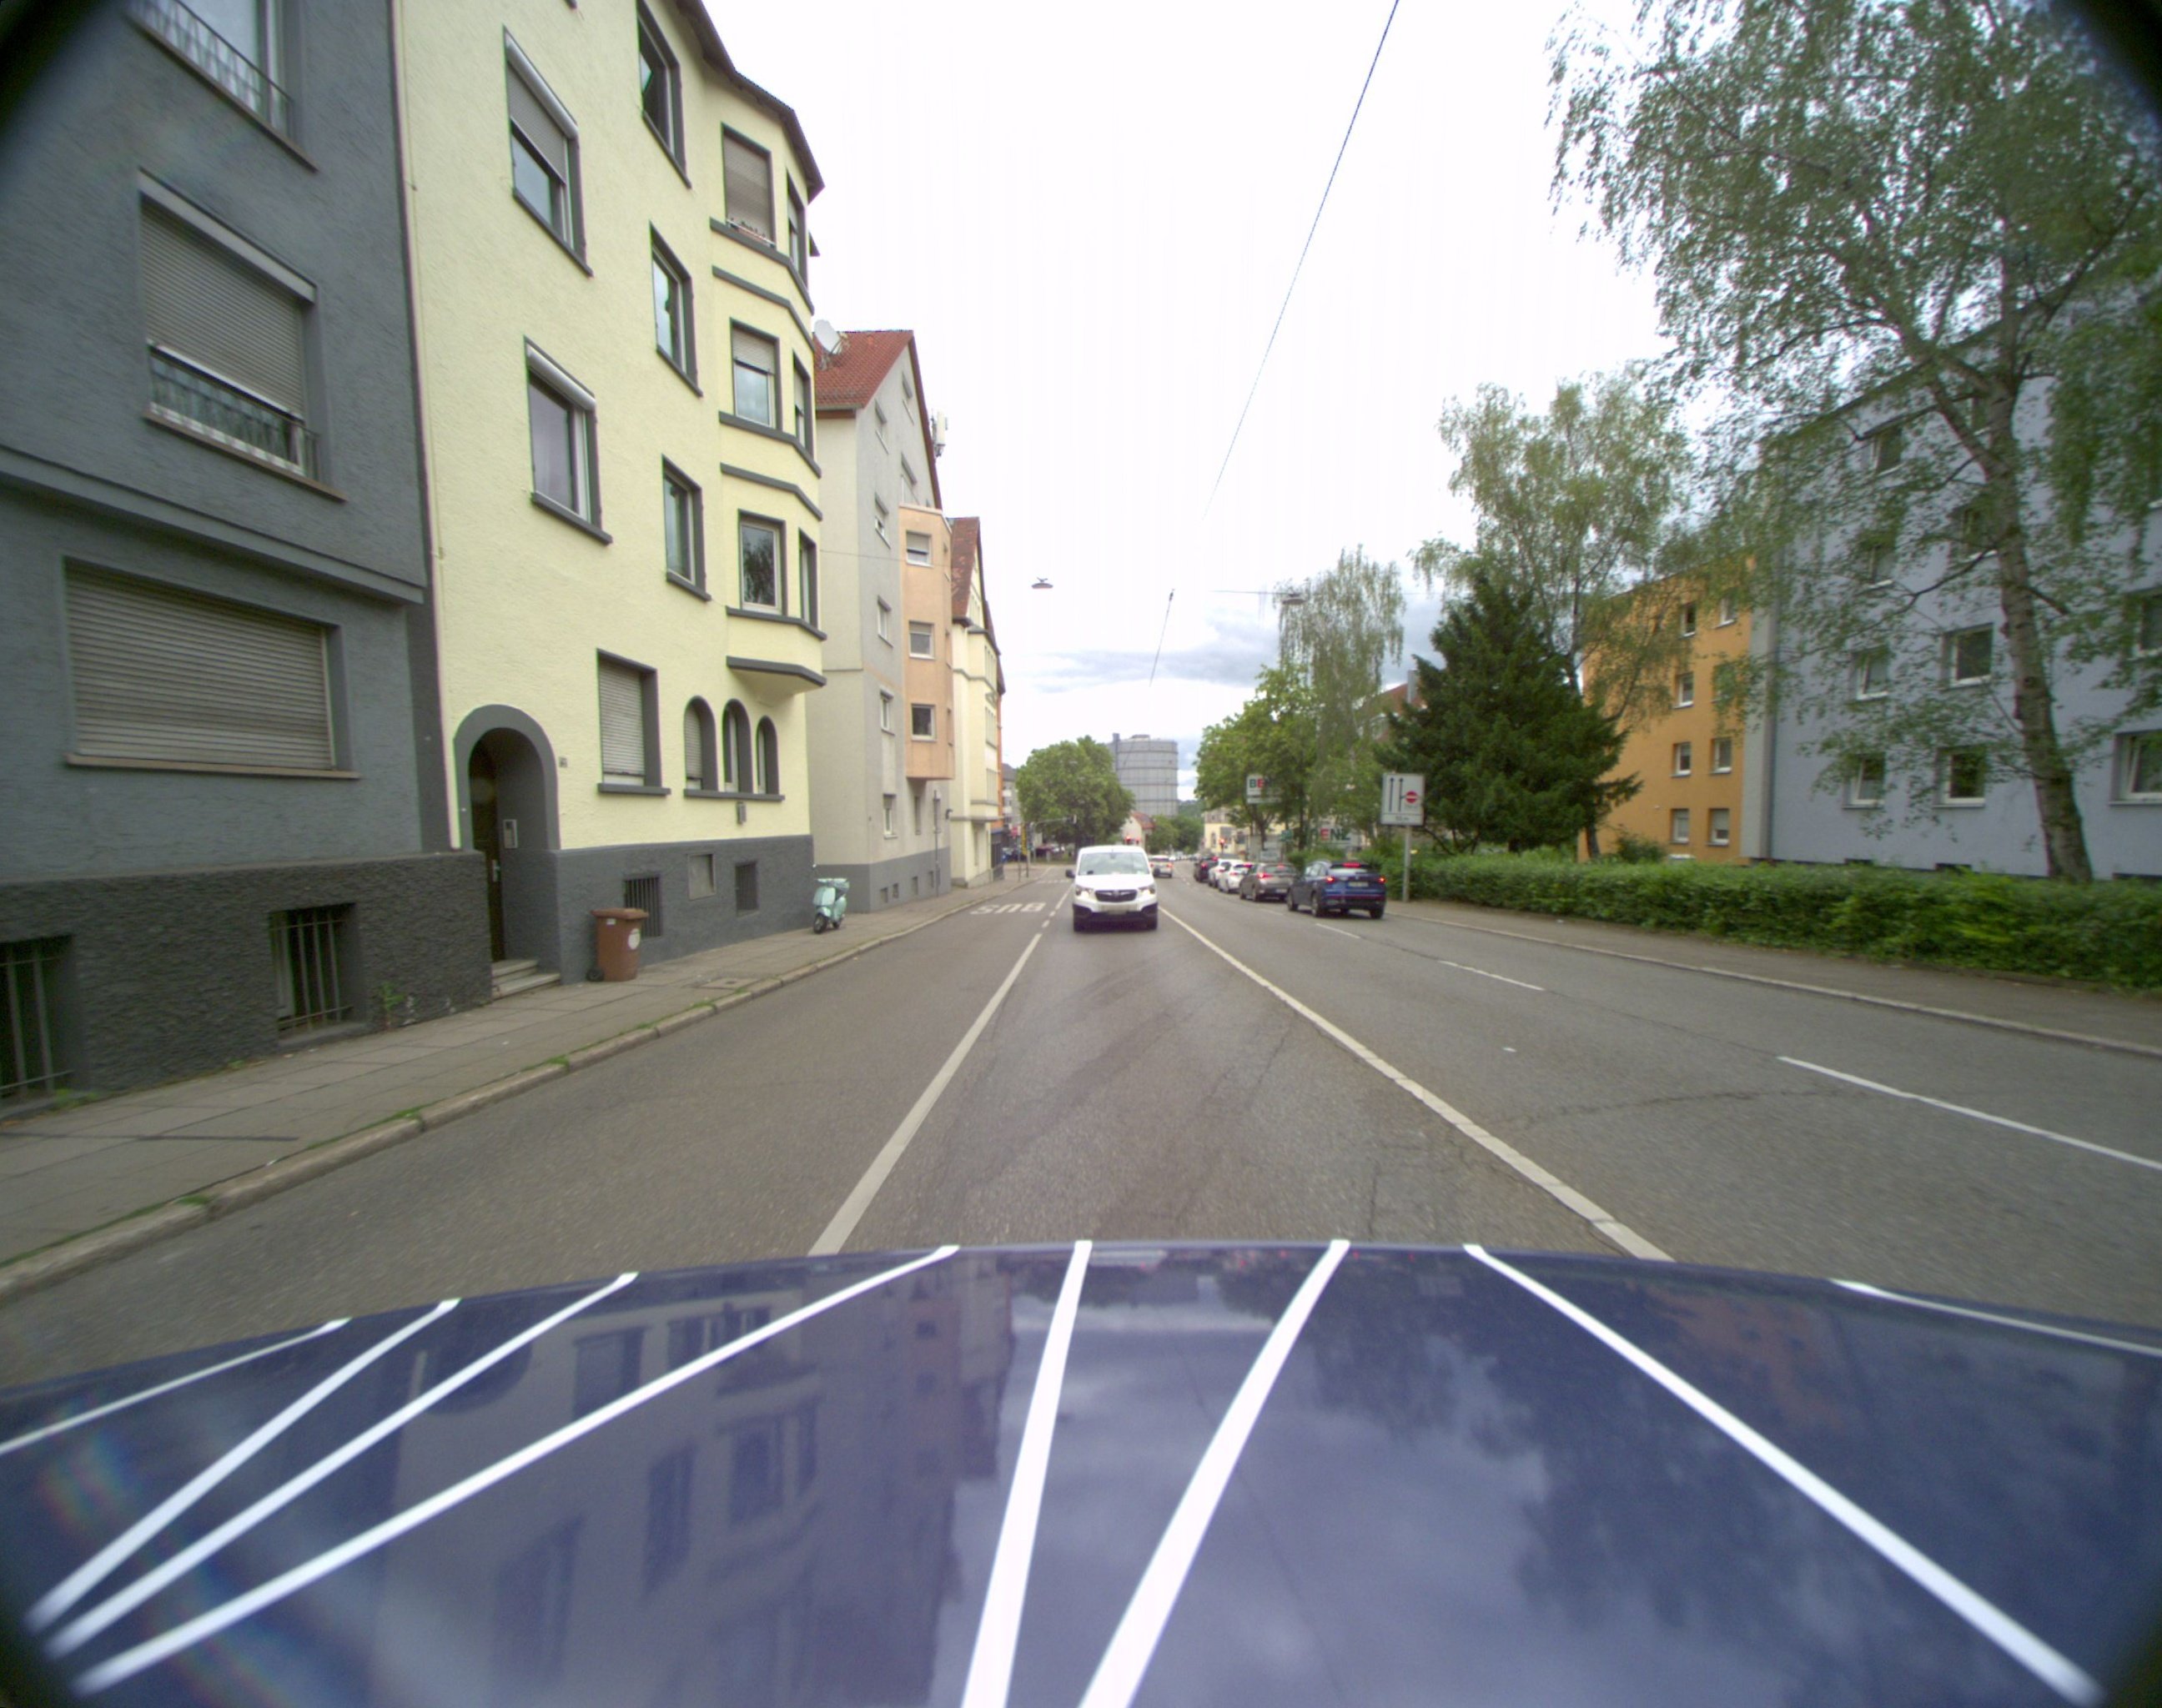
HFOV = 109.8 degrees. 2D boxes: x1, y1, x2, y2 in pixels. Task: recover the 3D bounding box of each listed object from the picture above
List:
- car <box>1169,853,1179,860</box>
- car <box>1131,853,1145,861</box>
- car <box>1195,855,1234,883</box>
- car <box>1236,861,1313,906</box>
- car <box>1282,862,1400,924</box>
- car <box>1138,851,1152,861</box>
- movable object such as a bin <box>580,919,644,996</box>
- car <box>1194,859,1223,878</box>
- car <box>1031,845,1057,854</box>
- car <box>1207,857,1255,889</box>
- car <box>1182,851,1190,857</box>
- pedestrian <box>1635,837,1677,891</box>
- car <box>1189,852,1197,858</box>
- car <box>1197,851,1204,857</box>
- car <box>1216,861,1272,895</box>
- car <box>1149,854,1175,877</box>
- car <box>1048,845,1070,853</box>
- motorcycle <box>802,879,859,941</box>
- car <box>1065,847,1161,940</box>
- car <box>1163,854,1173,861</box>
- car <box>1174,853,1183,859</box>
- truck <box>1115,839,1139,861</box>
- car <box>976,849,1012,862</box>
[{"bbox_3d":[24.834,0.632,203.119,1.996,1.590,4.004,-2,0,13],"label":"car"},{"bbox_3d":[10.212,0.474,136.235,1.916,1.291,4.413,-2,1,13],"label":"car"},{"bbox_3d":[8.526,0.911,48.725,1.955,1.633,4.414,2,1,4],"label":"car"},{"bbox_3d":[7.137,1.043,28.476,1.843,1.439,4.311,1,1,1],"label":"car"},{"bbox_3d":[6.948,0.980,20.802,1.843,1.439,4.311,1,1,1],"label":"car"},{"bbox_3d":[12.166,0.354,144.167,1.996,1.620,4.413,-2,1,14],"label":"car"},{"bbox_3d":[-5.907,1.291,9.587,0.476,0.887,0.517,2,1,0],"label":"movable object such as a bin"},{"bbox_3d":[9.223,1.038,55.352,1.805,1.274,4.238,2,1,6],"label":"car"},{"bbox_3d":[-6.055,-0.714,124.737,4.007,1.496,1.858,-1,2,-36],"label":"car"},{"bbox_3d":[8.129,0.990,41.641,1.956,1.584,4.499,2,1,3],"label":"car"},{"bbox_3d":[32.026,0.015,231.047,1.996,1.590,4.004,-2,0,13],"label":"car"},{"bbox_3d":[18.824,0.336,24.889,0.724,1.743,0.794,-1,-3,6],"label":"pedestrian"},{"bbox_3d":[29.514,0.200,199.642,1.757,1.439,3.755,-1,1,14],"label":"car"},{"bbox_3d":[35.868,-0.079,227.856,1.868,1.873,4.288,2,1,11],"label":"car"},{"bbox_3d":[7.516,1.066,35.395,1.843,1.404,4.074,2,1,2],"label":"car"},{"bbox_3d":[5.924,0.792,55.626,1.779,1.538,4.326,2,1,5],"label":"car"},{"bbox_3d":[-3.835,-0.896,133.562,3.624,1.496,1.787,-1,2,-41],"label":"car"},{"bbox_3d":[-5.418,1.177,16.539,0.539,1.149,2.226,2,0,-2],"label":"motorcycle"},{"bbox_3d":[0.717,0.782,17.538,1.888,1.827,4.677,-1,0,2],"label":"car"},{"bbox_3d":[21.018,0.764,182.963,1.996,1.590,4.004,-2,0,13],"label":"car"},{"bbox_3d":[28.108,0.599,219.339,1.996,1.590,4.004,-2,0,13],"label":"car"},{"bbox_3d":[7.780,-0.687,127.622,2.769,3.482,8.177,-2,1,12],"label":"truck"},{"bbox_3d":[-11.060,0.131,96.821,4.255,1.568,1.830,1,0,2],"label":"car"}]
